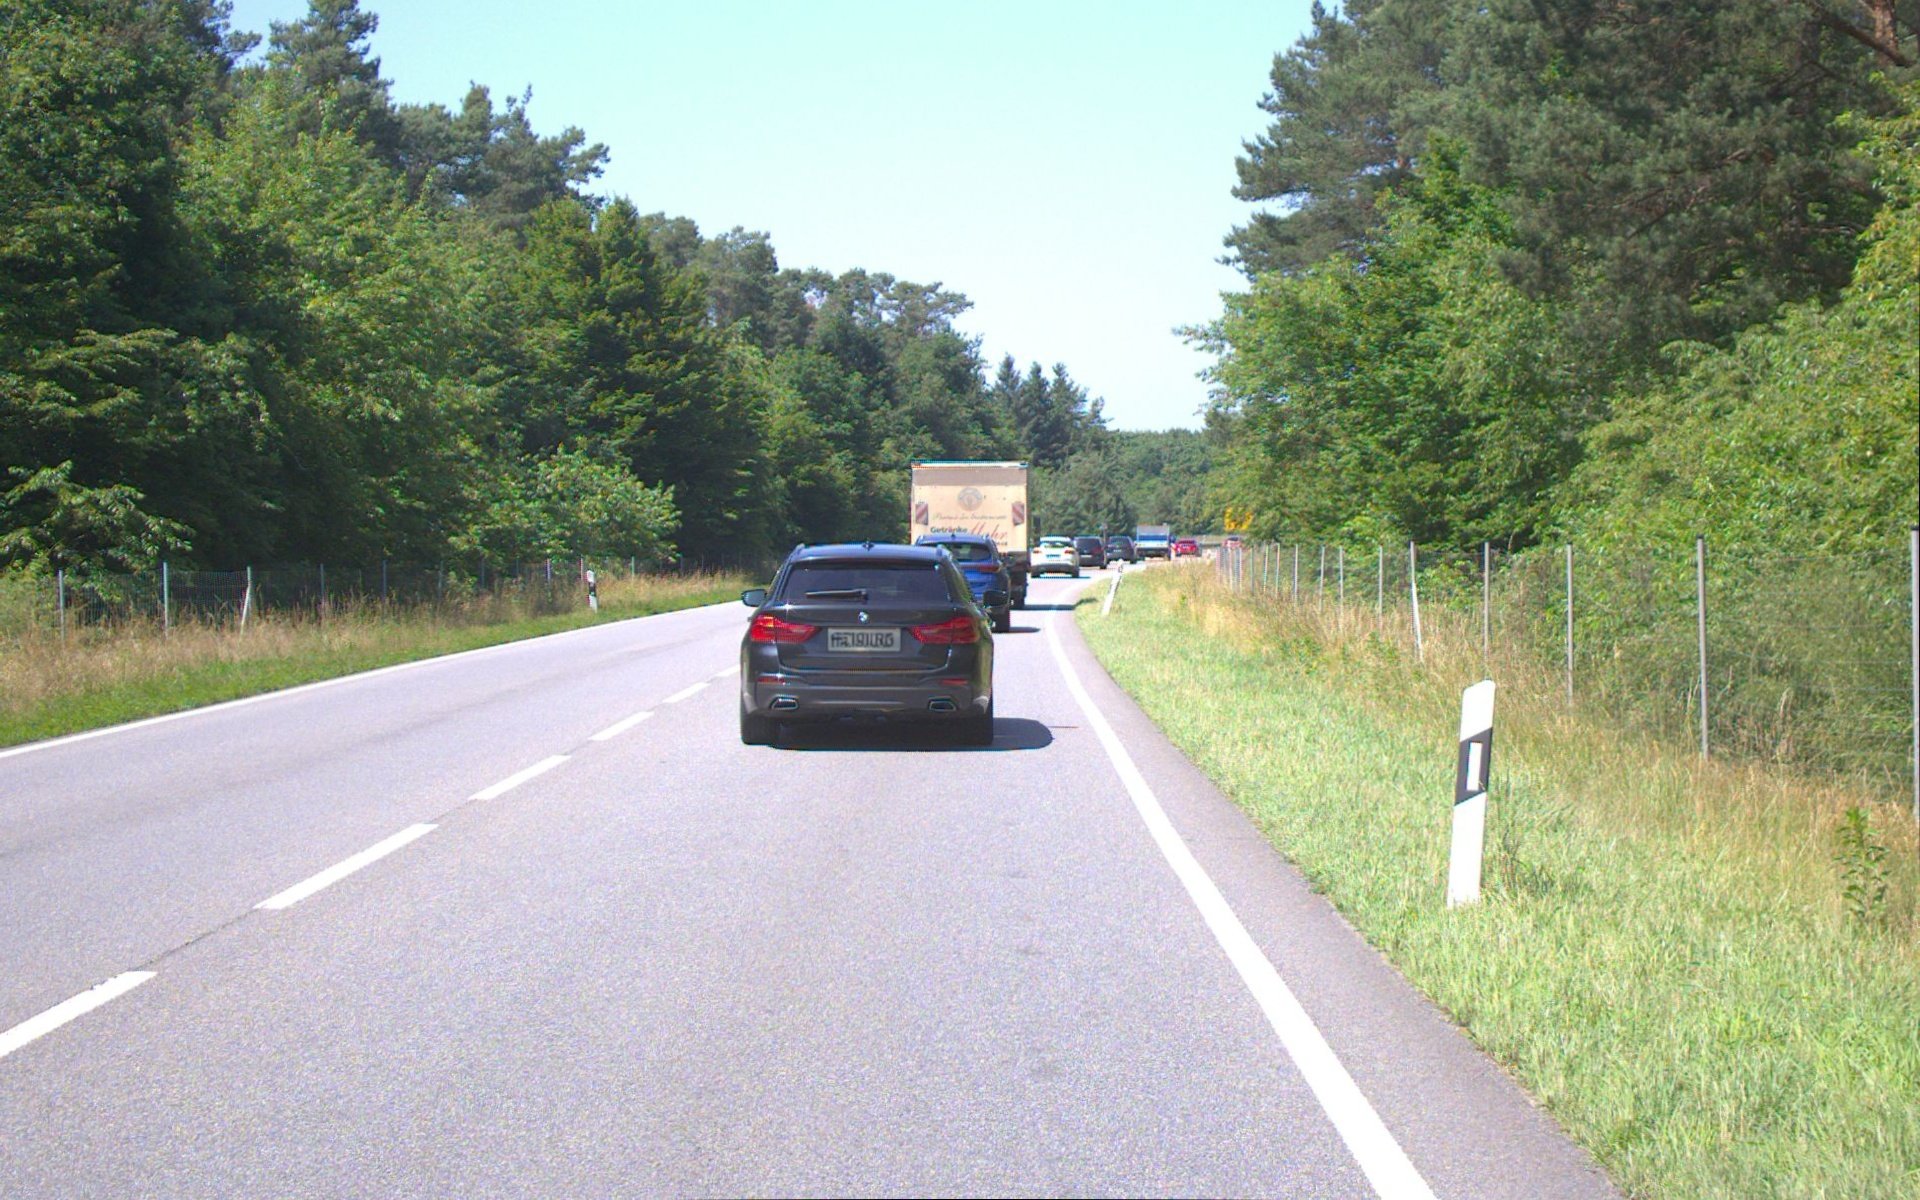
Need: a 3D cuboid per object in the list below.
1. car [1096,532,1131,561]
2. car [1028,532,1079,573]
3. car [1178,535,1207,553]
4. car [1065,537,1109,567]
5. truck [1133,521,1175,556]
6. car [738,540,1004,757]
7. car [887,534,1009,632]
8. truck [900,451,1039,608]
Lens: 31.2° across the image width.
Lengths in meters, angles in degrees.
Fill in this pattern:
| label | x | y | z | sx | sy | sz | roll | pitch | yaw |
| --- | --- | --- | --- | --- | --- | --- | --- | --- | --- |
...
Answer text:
| label | x | y | z | sx | sy | sz | roll | pitch | yaw |
| --- | --- | --- | --- | --- | --- | --- | --- | --- | --- |
| car | 8.972 | -3.115 | 201.222 | 1.994 | 1.631 | 4.000 | -1 | 1 | 2 |
| car | 3.766 | -1.926 | 138.706 | 1.863 | 1.600 | 4.000 | -1 | 1 | -1 |
| car | 17.602 | -4.226 | 260.455 | 1.795 | 1.349 | 3.927 | 0 | 1 | 10 |
| car | 6.291 | -2.383 | 170.580 | 1.993 | 1.415 | 4.000 | 1 | 1 | -1 |
| truck | 12.769 | -4.042 | 225.478 | 2.564 | 2.194 | 4.973 | -1 | 1 | 5 |
| car | -0.711 | 0.304 | 25.940 | 1.820 | 1.465 | 4.001 | 1 | 1 | -3 |
| car | -0.222 | -0.312 | 57.715 | 1.947 | 1.536 | 4.000 | -1 | 1 | -1 |
| truck | 0.270 | -1.601 | 77.418 | 2.966 | 3.376 | 6.438 | 0 | 1 | 1 |
